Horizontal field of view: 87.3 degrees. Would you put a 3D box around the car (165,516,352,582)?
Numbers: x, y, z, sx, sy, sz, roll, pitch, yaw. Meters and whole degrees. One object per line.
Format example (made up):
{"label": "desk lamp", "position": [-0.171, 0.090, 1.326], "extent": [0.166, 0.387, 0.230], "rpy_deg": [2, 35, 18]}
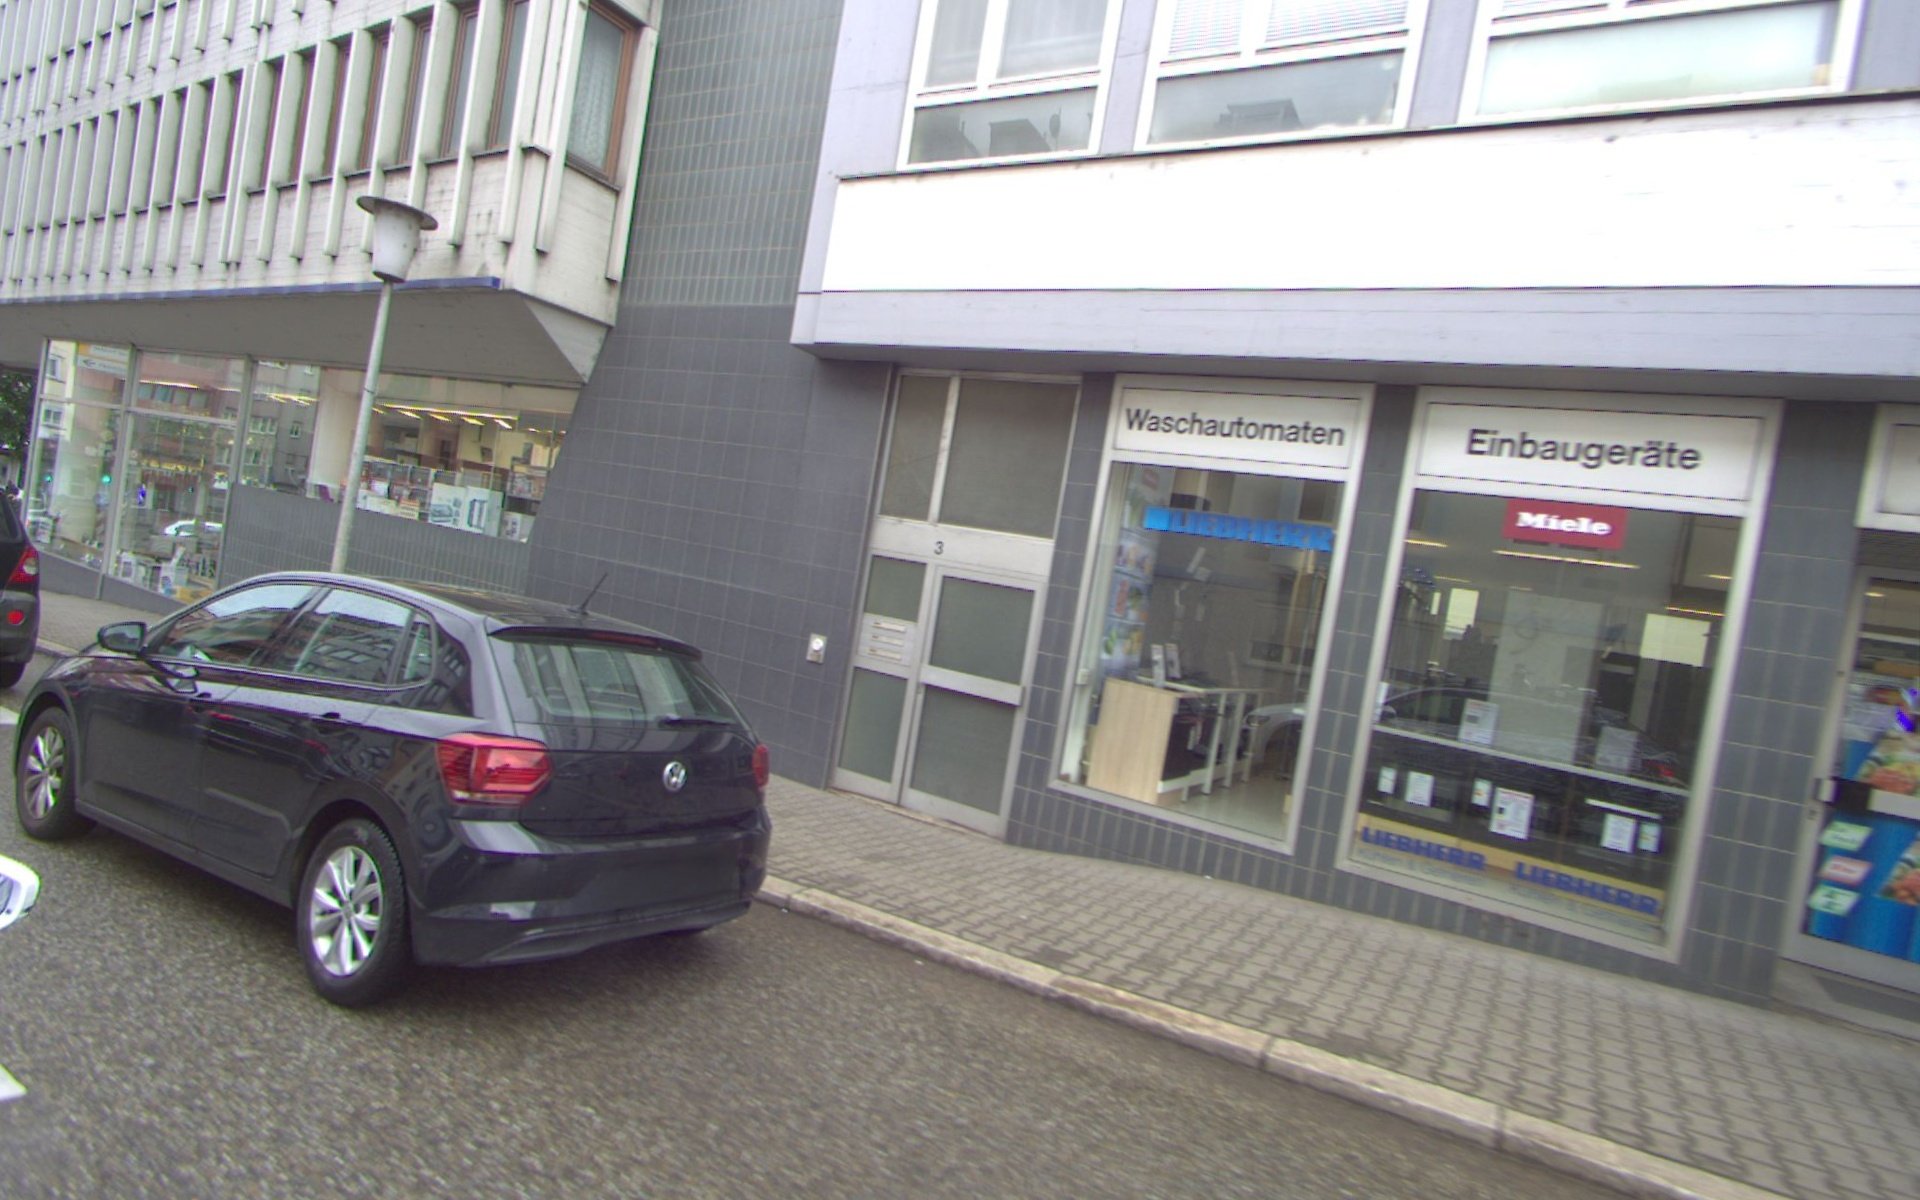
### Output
{"label": "car", "position": [-23.793, -1.695, 34.326], "extent": [4.780, 1.512, 1.850], "rpy_deg": [8, 0, -17]}

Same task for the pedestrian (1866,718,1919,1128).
{"label": "pedestrian", "position": [4.340, 1.336, 3.935], "extent": [0.875, 1.572, 0.766], "rpy_deg": [7, 3, 28]}

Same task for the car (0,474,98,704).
{"label": "car", "position": [-9.390, -0.374, 8.359], "extent": [4.430, 1.713, 1.903], "rpy_deg": [7, -3, 31]}

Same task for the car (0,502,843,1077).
{"label": "car", "position": [-2.720, 0.568, 4.703], "extent": [3.932, 1.493, 1.694], "rpy_deg": [7, -3, 30]}

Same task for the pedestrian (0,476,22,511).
{"label": "pedestrian", "position": [-53.026, -5.935, 55.979], "extent": [0.818, 1.711, 1.029], "rpy_deg": [15, 5, 40]}
